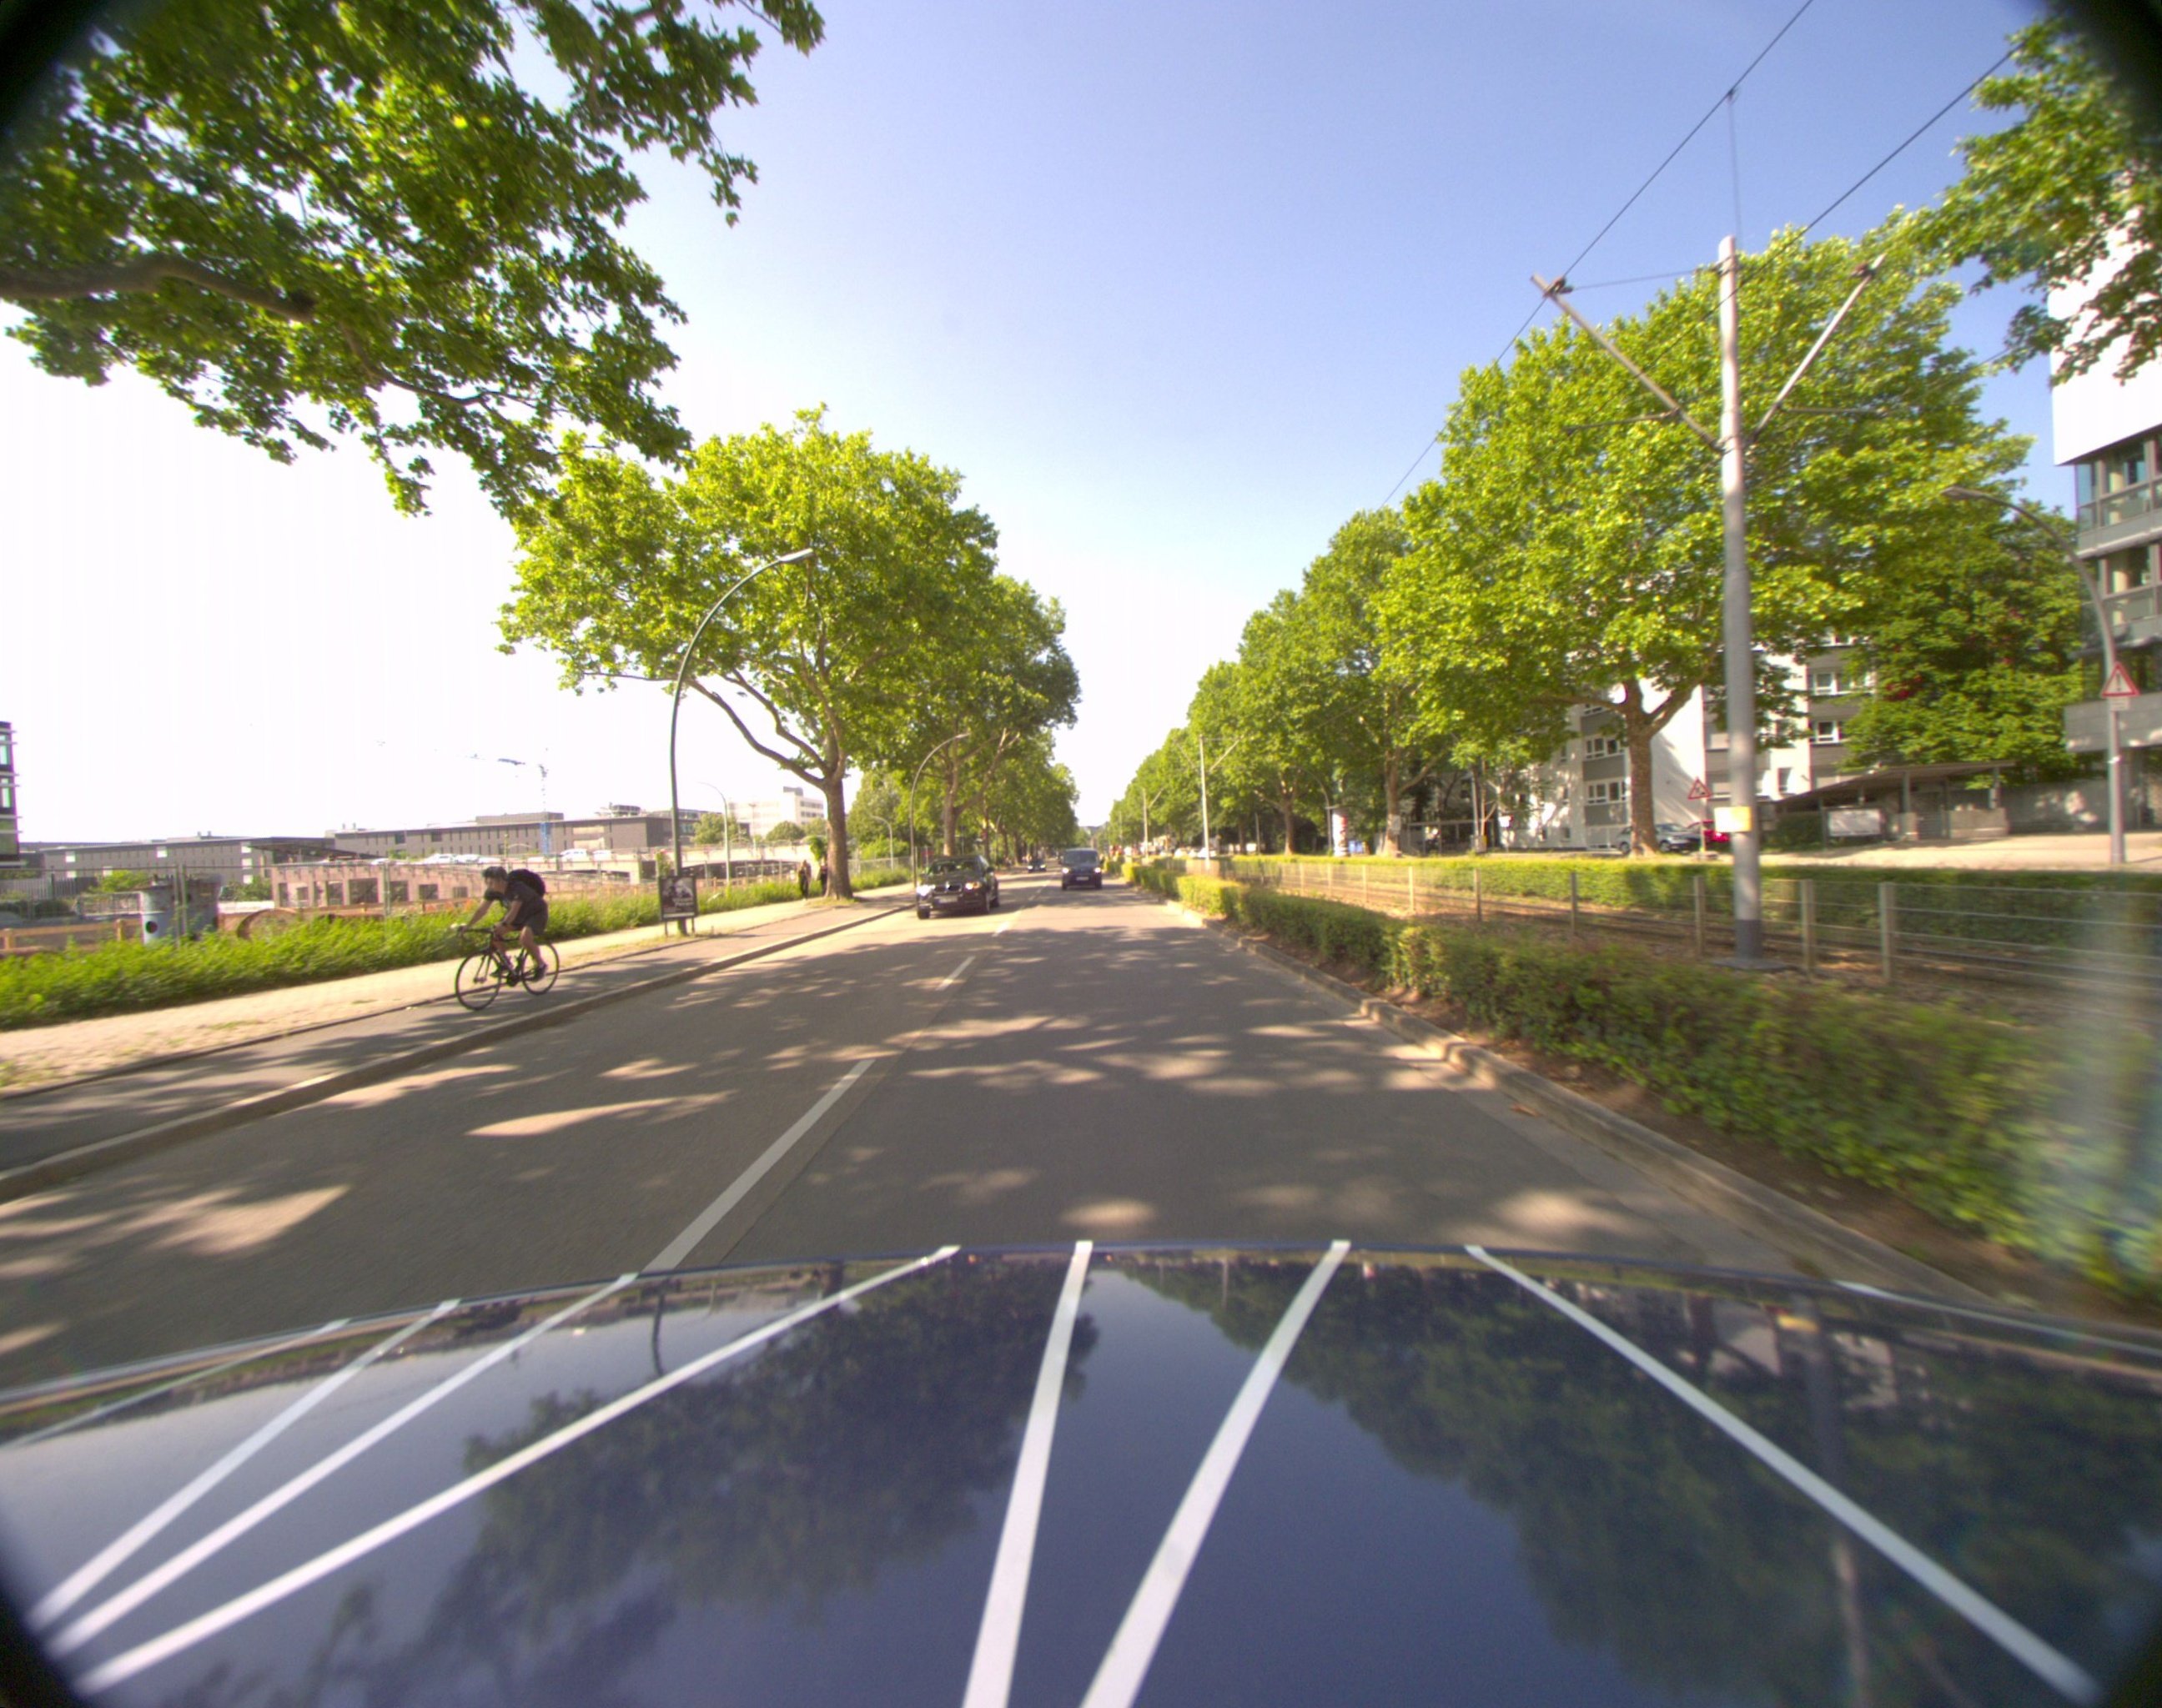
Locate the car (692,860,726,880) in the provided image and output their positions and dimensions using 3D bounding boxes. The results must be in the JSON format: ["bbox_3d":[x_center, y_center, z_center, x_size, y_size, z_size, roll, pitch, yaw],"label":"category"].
[{"bbox_3d":[-55.696,2.390,113.862,3.998,2.723,1.808,-3,1,-2],"label":"car"}]

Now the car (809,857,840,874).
[{"bbox_3d":[-38.572,1.757,114.314,3.998,2.309,1.808,-3,1,-2],"label":"car"}]

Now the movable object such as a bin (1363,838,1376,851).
[{"bbox_3d":[25.059,-0.841,65.964,0.898,1.031,0.546,-3,1,-1],"label":"movable object such as a bin"}]

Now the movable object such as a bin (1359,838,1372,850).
[{"bbox_3d":[25.128,-0.853,67.085,0.898,1.031,0.546,-3,1,-1],"label":"movable object such as a bin"}]

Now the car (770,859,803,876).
[{"bbox_3d":[-44.151,2.033,113.979,3.998,2.309,1.808,-3,1,-2],"label":"car"}]

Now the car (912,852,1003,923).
[{"bbox_3d":[-3.505,0.887,22.345,1.924,1.720,4.151,-4,1,-1],"label":"car"}]

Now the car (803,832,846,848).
[{"bbox_3d":[-27.852,-1.525,82.693,3.998,1.501,1.808,-3,0,-2],"label":"car"}]

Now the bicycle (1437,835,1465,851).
[{"bbox_3d":[26.693,-0.791,54.787,1.770,1.096,0.421,-3,1,-1],"label":"bicycle"}]

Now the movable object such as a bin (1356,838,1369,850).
[{"bbox_3d":[25.113,-0.857,67.691,0.898,1.031,0.546,-3,1,-1],"label":"movable object such as a bin"}]

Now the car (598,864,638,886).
[{"bbox_3d":[-60.809,2.749,99.885,3.998,2.723,1.808,-3,1,-2],"label":"car"}]

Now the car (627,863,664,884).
[{"bbox_3d":[-61.134,2.712,106.777,3.998,2.723,1.808,-3,1,-2],"label":"car"}]

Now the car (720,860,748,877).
[{"bbox_3d":[-61.484,2.514,134.516,3.998,2.723,1.808,-3,1,-2],"label":"car"}]

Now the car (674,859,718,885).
[{"bbox_3d":[-43.856,2.024,86.603,3.998,2.723,1.808,-3,1,-2],"label":"car"}]

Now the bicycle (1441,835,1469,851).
[{"bbox_3d":[26.706,-0.788,54.290,1.770,1.096,0.421,-3,1,-1],"label":"bicycle"}]

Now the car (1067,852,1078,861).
[{"bbox_3d":[-1.634,0.460,145.058,1.854,1.419,4.152,-4,1,2],"label":"car"}]

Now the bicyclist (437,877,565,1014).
[{"bbox_3d":[-6.904,1.044,9.114,0.600,1.481,1.215,0,1,-1],"label":"bicyclist"}]

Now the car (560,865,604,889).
[{"bbox_3d":[-60.935,2.810,92.891,3.998,2.723,1.808,-3,1,-2],"label":"car"}]

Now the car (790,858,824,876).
[{"bbox_3d":[-38.759,1.819,107.423,3.998,2.309,1.808,-3,1,-2],"label":"car"}]

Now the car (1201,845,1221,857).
[{"bbox_3d":[16.365,-0.347,95.929,1.820,1.482,3.912,-1,0,-1],"label":"car"}]

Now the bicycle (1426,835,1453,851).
[{"bbox_3d":[26.534,-0.795,56.230,1.770,1.096,0.421,-3,1,-1],"label":"bicycle"}]

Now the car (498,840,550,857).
[{"bbox_3d":[-58.350,-0.549,79.702,3.998,1.501,1.808,-3,0,-2],"label":"car"}]

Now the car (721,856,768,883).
[{"bbox_3d":[-38.294,1.769,86.593,4.375,2.723,1.808,-3,1,-2],"label":"car"}]

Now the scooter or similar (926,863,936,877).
[{"bbox_3d":[-11.875,1.255,60.114,0.483,1.115,1.128,-3,0,1],"label":"scooter or similar"}]

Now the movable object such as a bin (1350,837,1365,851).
[{"bbox_3d":[25.131,-0.897,69.120,0.898,1.182,1.099,-3,1,-1],"label":"movable object such as a bin"}]

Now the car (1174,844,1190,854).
[{"bbox_3d":[16.144,-0.814,121.662,1.860,1.445,3.999,-3,0,-1],"label":"car"}]

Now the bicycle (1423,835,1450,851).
[{"bbox_3d":[26.535,-0.798,56.669,1.770,1.096,0.421,-3,1,-1],"label":"bicycle"}]

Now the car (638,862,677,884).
[{"bbox_3d":[-55.746,2.500,100.062,3.998,2.723,1.808,-3,1,-2],"label":"car"}]

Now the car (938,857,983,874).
[{"bbox_3d":[-11.222,1.088,70.519,3.989,1.400,1.900,-3,0,41],"label":"car"}]

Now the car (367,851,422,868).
[{"bbox_3d":[-71.889,0.538,79.612,3.998,1.501,1.808,-3,0,-2],"label":"car"}]

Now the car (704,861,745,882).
[{"bbox_3d":[-43.844,2.176,93.550,3.998,2.309,1.808,-3,1,-2],"label":"car"}]

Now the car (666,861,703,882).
[{"bbox_3d":[-55.817,2.449,106.992,3.998,2.723,1.808,-3,1,-2],"label":"car"}]

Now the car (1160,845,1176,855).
[{"bbox_3d":[13.154,-0.620,115.008,1.860,1.445,3.999,-3,0,-1],"label":"car"}]

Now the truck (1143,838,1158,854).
[{"bbox_3d":[15.723,-1.772,172.350,2.752,3.259,6.540,-3,0,-1],"label":"truck"}]

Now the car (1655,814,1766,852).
[{"bbox_3d":[29.214,-0.929,35.435,1.747,1.541,3.999,-3,0,-1],"label":"car"}]

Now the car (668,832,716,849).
[{"bbox_3d":[-40.895,-1.407,79.987,3.998,1.501,1.808,-3,0,-2],"label":"car"}]

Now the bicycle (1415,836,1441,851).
[{"bbox_3d":[26.557,-0.811,58.218,1.770,1.096,0.421,-3,1,-1],"label":"bicycle"}]

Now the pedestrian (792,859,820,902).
[{"bbox_3d":[-11.177,1.052,30.929,0.697,1.673,0.959,-3,1,-1],"label":"pedestrian"}]

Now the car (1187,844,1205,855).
[{"bbox_3d":[16.619,-0.587,110.059,1.856,1.445,3.999,-3,0,-1],"label":"car"}]

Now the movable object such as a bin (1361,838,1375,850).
[{"bbox_3d":[25.123,-0.848,66.520,0.898,1.031,0.546,-3,1,-1],"label":"movable object such as a bin"}]

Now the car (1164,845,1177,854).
[{"bbox_3d":[15.695,-0.754,133.596,1.701,1.406,3.892,-5,0,-1],"label":"car"}]

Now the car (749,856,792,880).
[{"bbox_3d":[-38.213,1.711,93.625,4.375,2.723,1.808,-3,1,-2],"label":"car"}]

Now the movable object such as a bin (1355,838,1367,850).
[{"bbox_3d":[25.145,-0.863,68.257,0.898,1.031,0.546,-3,1,-1],"label":"movable object such as a bin"}]

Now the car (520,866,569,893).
[{"bbox_3d":[-60.817,2.856,86.151,3.998,2.723,1.808,-3,1,-2],"label":"car"}]

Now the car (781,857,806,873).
[{"bbox_3d":[-56.047,2.140,148.280,3.998,2.723,1.808,-3,1,-2],"label":"car"}]

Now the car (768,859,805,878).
[{"bbox_3d":[-38.483,1.868,99.384,3.998,2.309,1.808,-3,1,-2],"label":"car"}]

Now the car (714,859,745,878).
[{"bbox_3d":[-55.914,2.347,120.822,3.998,2.723,1.808,-3,1,-2],"label":"car"}]

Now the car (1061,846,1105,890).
[{"bbox_3d":[0.144,0.567,34.768,1.789,1.839,4.000,-2,1,2],"label":"car"}]

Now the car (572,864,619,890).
[{"bbox_3d":[-55.048,2.573,86.154,3.998,2.723,1.808,-3,1,-2],"label":"car"}]

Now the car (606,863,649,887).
[{"bbox_3d":[-55.626,2.547,93.178,3.998,2.723,1.808,-3,1,-2],"label":"car"}]

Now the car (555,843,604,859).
[{"bbox_3d":[-54.335,-0.356,82.398,3.998,1.501,1.808,-3,0,-2],"label":"car"}]

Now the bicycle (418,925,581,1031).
[{"bbox_3d":[-6.905,1.433,9.146,0.599,0.974,1.781,-1,0,-1],"label":"bicycle"}]

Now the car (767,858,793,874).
[{"bbox_3d":[-56.034,2.192,141.565,3.998,2.723,1.808,-3,1,-2],"label":"car"}]

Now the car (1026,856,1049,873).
[{"bbox_3d":[-4.347,1.031,75.809,1.854,1.419,4.152,-4,1,2],"label":"car"}]

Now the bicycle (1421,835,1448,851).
[{"bbox_3d":[26.564,-0.803,57.131,1.770,1.096,0.421,-3,1,-1],"label":"bicycle"}]

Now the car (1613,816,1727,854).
[{"bbox_3d":[26.816,-0.824,34.816,1.747,1.541,4.348,-3,0,-1],"label":"car"}]

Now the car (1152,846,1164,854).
[{"bbox_3d":[14.879,-0.778,147.193,1.701,1.406,3.892,-5,0,-1],"label":"car"}]

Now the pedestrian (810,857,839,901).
[{"bbox_3d":[-10.372,0.988,30.772,0.711,1.714,1.066,-3,1,-1],"label":"pedestrian"}]
